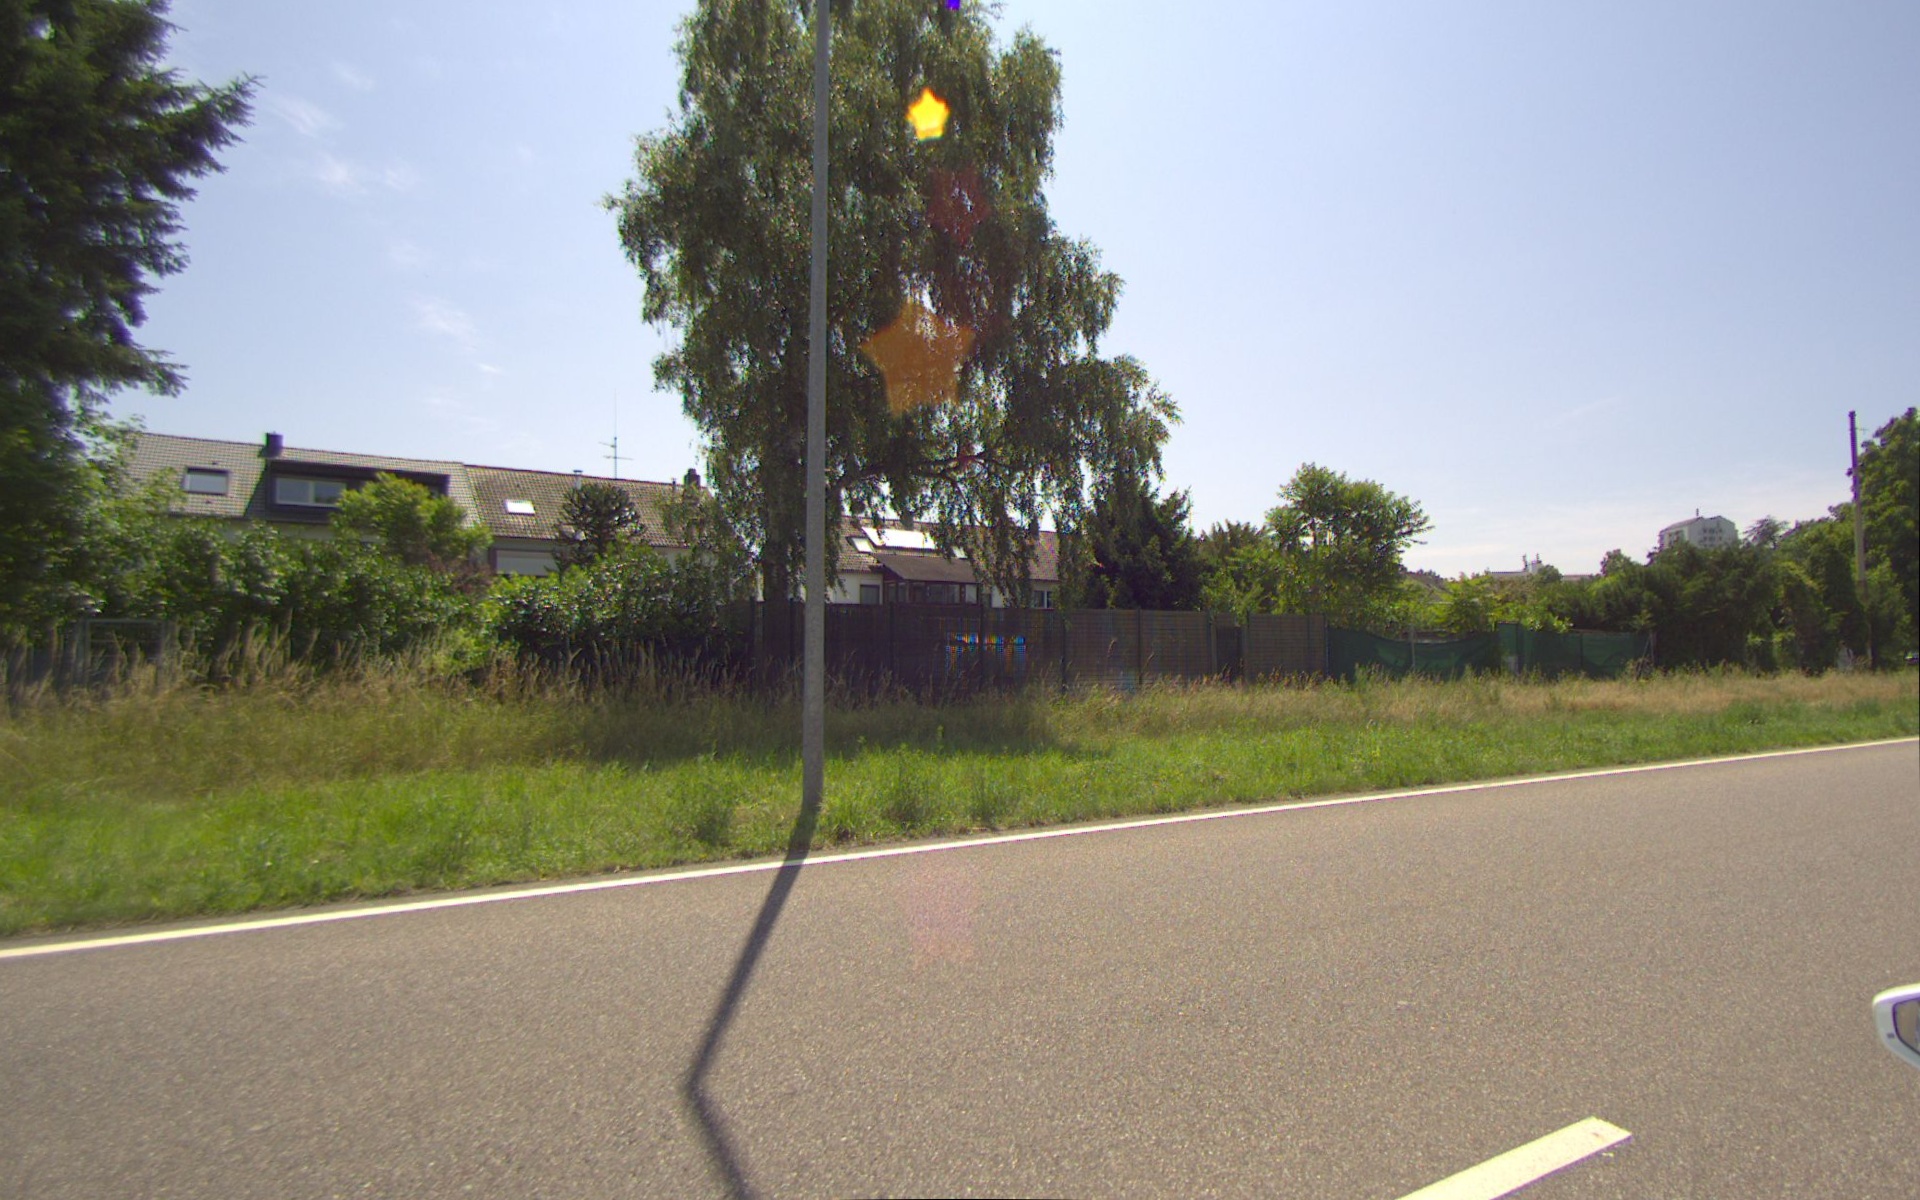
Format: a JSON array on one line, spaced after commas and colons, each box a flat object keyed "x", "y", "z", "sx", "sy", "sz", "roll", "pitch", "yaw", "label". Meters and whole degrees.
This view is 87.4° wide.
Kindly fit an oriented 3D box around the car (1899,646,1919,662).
[{"x": 124.776, "y": 7.093, "z": 131.984, "sx": 1.825, "sy": 1.973, "sz": 3.981, "roll": -1, "pitch": -2, "yaw": 40, "label": "car"}]

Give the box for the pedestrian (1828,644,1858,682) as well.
[{"x": 32.140, "y": 2.278, "z": 36.571, "sx": 0.788, "sy": 1.373, "sz": 0.579, "roll": 1, "pitch": -2, "yaw": -28, "label": "pedestrian"}]
